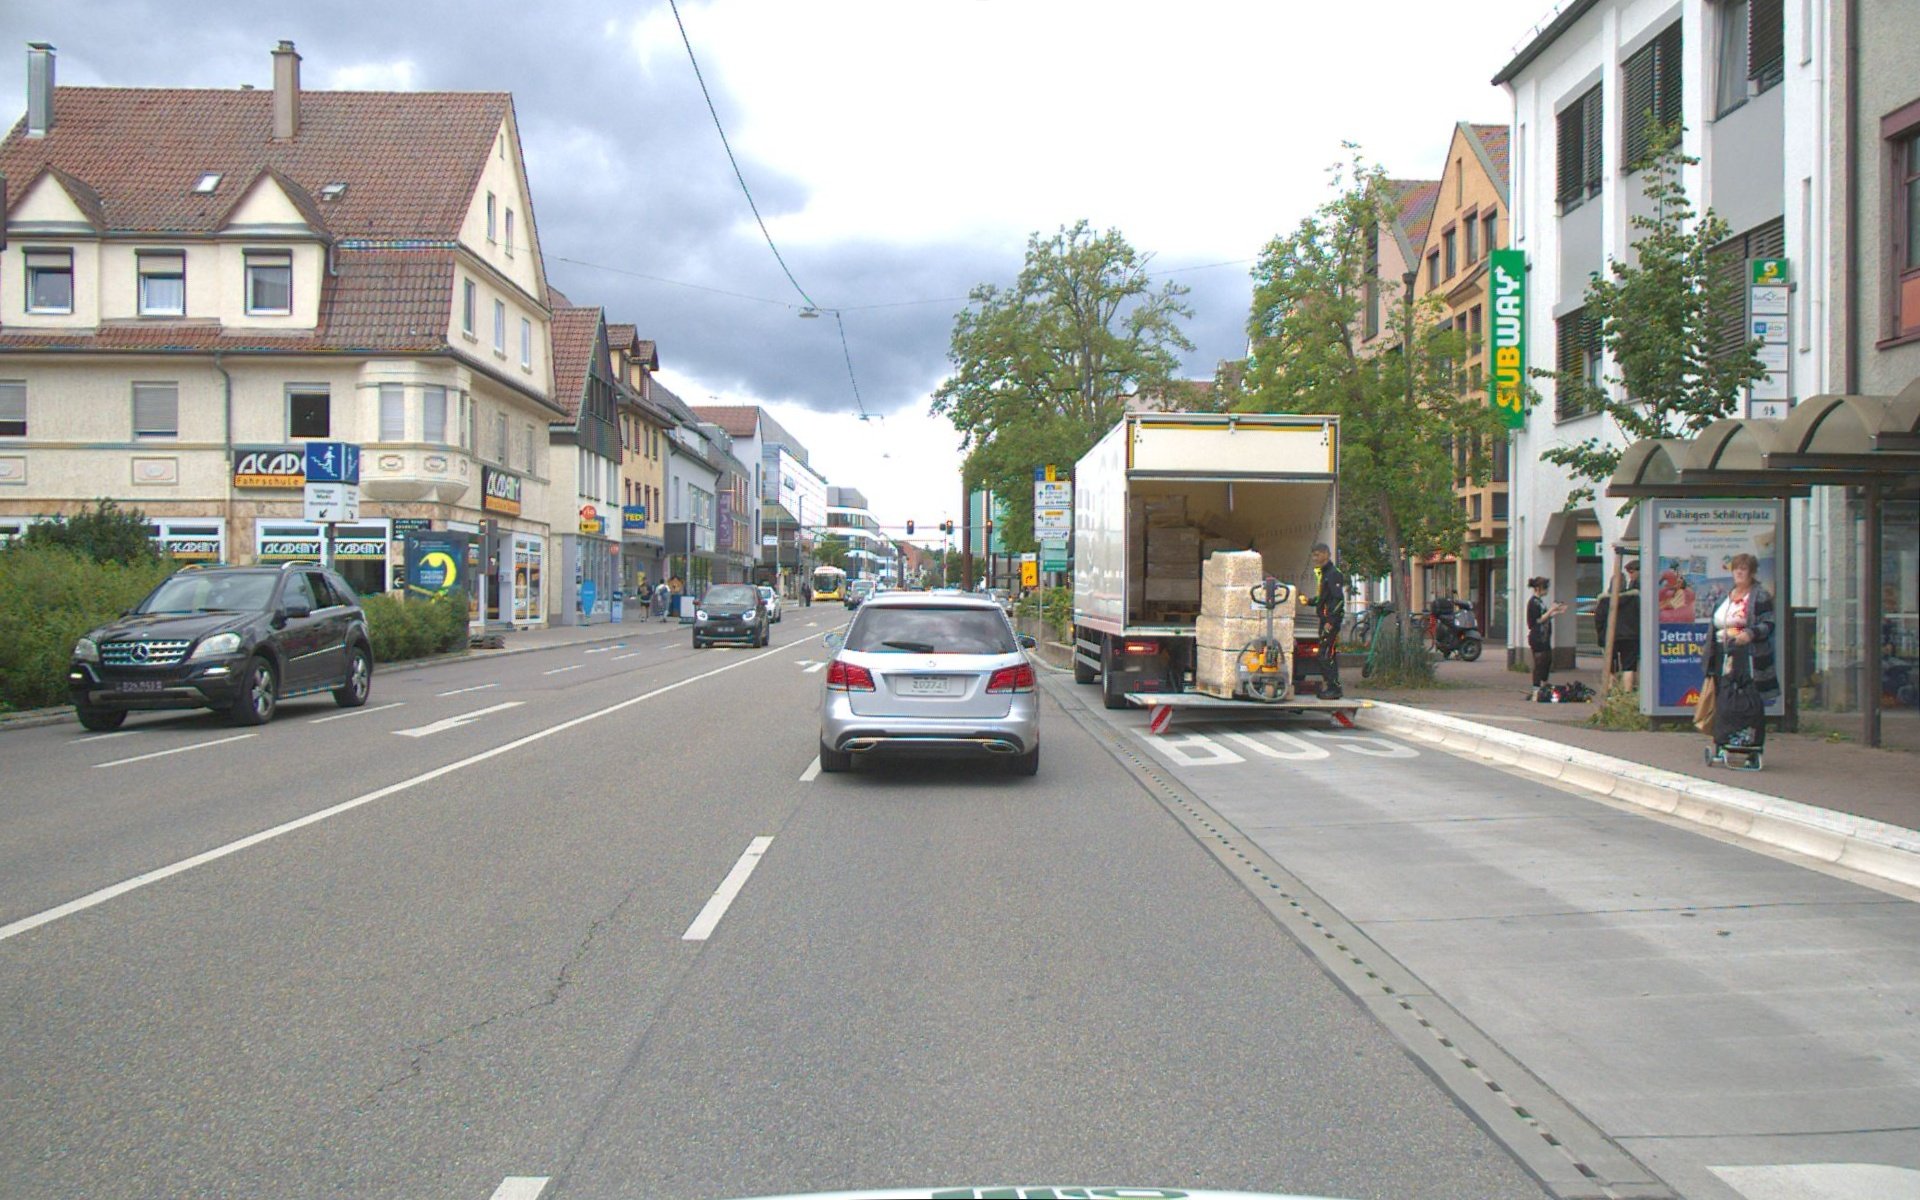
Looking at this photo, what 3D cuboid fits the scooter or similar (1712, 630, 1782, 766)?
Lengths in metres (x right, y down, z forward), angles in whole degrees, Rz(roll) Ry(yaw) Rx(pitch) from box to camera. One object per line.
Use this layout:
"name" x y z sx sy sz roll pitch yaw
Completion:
"scooter or similar" 5.880 0.722 12.353 0.382 0.976 0.350 -1 0 -42

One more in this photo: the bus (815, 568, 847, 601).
"bus" -12.816 -1.547 164.594 2.718 3.220 5.932 0 0 0

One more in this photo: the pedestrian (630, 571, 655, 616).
"pedestrian" -13.008 -0.265 67.757 0.850 1.777 0.805 3 0 -5

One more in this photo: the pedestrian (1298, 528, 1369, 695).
"pedestrian" 4.117 0.125 18.251 0.601 1.811 0.587 0 -1 -4

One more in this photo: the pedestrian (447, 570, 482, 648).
"pedestrian" -11.955 0.207 39.943 0.620 1.856 0.680 -1 0 -1

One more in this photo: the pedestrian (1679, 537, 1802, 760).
"pedestrian" 5.992 0.366 12.711 0.528 1.663 0.583 3 0 -25

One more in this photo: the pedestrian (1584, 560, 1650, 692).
"pedestrian" 8.344 0.325 21.012 0.578 1.640 0.610 -1 -1 45

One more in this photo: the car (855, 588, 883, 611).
"car" -6.016 -0.061 109.244 1.584 1.453 3.922 -1 0 0

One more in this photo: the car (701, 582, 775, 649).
"car" -5.442 0.353 40.786 1.539 1.567 2.959 -1 0 -3

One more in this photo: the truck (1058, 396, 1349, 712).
"truck" 3.097 -0.569 23.929 2.634 3.623 9.765 0 0 -1

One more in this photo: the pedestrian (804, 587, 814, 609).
"pedestrian" -11.454 -0.139 125.346 0.601 1.663 0.588 3 0 -2

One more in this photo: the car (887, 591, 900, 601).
"car" -8.794 -0.555 218.847 1.542 1.266 3.606 0 0 0

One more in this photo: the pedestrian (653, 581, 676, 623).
"pedestrian" -11.919 0.077 66.740 0.801 1.663 0.979 2 0 -6

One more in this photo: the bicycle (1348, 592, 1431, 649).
"bicycle" 10.408 0.487 40.110 1.780 1.350 0.843 0 0 -5

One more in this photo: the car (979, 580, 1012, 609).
"car" 2.173 -0.349 102.477 1.953 1.713 4.000 0 0 0

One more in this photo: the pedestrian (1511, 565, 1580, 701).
"pedestrian" 7.793 0.430 22.033 0.601 1.770 0.587 3 0 -4

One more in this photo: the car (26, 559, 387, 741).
"car" -8.419 0.488 19.045 2.027 1.768 4.692 -2 0 -1

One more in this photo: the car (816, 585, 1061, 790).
"car" -0.243 0.655 14.511 1.837 1.532 3.998 1 0 -3

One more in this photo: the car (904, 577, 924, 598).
"car" -4.554 -1.194 163.725 1.953 2.049 3.999 0 0 -1

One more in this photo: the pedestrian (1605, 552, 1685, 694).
"pedestrian" 9.130 0.302 22.061 0.605 1.851 0.761 0 -1 -25

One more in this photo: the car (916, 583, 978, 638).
"car" -0.413 0.310 53.480 1.953 1.713 4.000 0 0 0

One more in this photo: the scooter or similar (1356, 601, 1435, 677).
"scooter or similar" 7.132 0.627 27.096 1.154 1.217 0.459 0 0 -10

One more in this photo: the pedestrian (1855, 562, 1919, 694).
"pedestrian" 11.215 0.330 19.745 0.712 1.552 0.614 0 0 -8

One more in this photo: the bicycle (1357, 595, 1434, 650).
"bicycle" 10.330 0.530 39.213 1.641 1.281 0.669 0 0 -5

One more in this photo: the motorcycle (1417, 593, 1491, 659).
"motorcycle" 10.024 0.501 33.627 0.722 1.293 2.106 0 0 -5

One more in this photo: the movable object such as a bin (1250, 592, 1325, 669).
"movable object such as a bin" 5.977 0.546 30.260 1.120 1.363 1.376 0 0 1

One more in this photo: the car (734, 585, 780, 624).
"car" -8.705 0.223 71.252 1.607 1.595 3.924 -2 -1 -3

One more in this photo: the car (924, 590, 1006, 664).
"car" 0.092 0.565 36.835 1.718 1.547 3.999 0 0 -1

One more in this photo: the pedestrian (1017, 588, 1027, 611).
"pedestrian" 4.701 -0.038 125.016 0.602 1.663 0.587 3 0 -9
